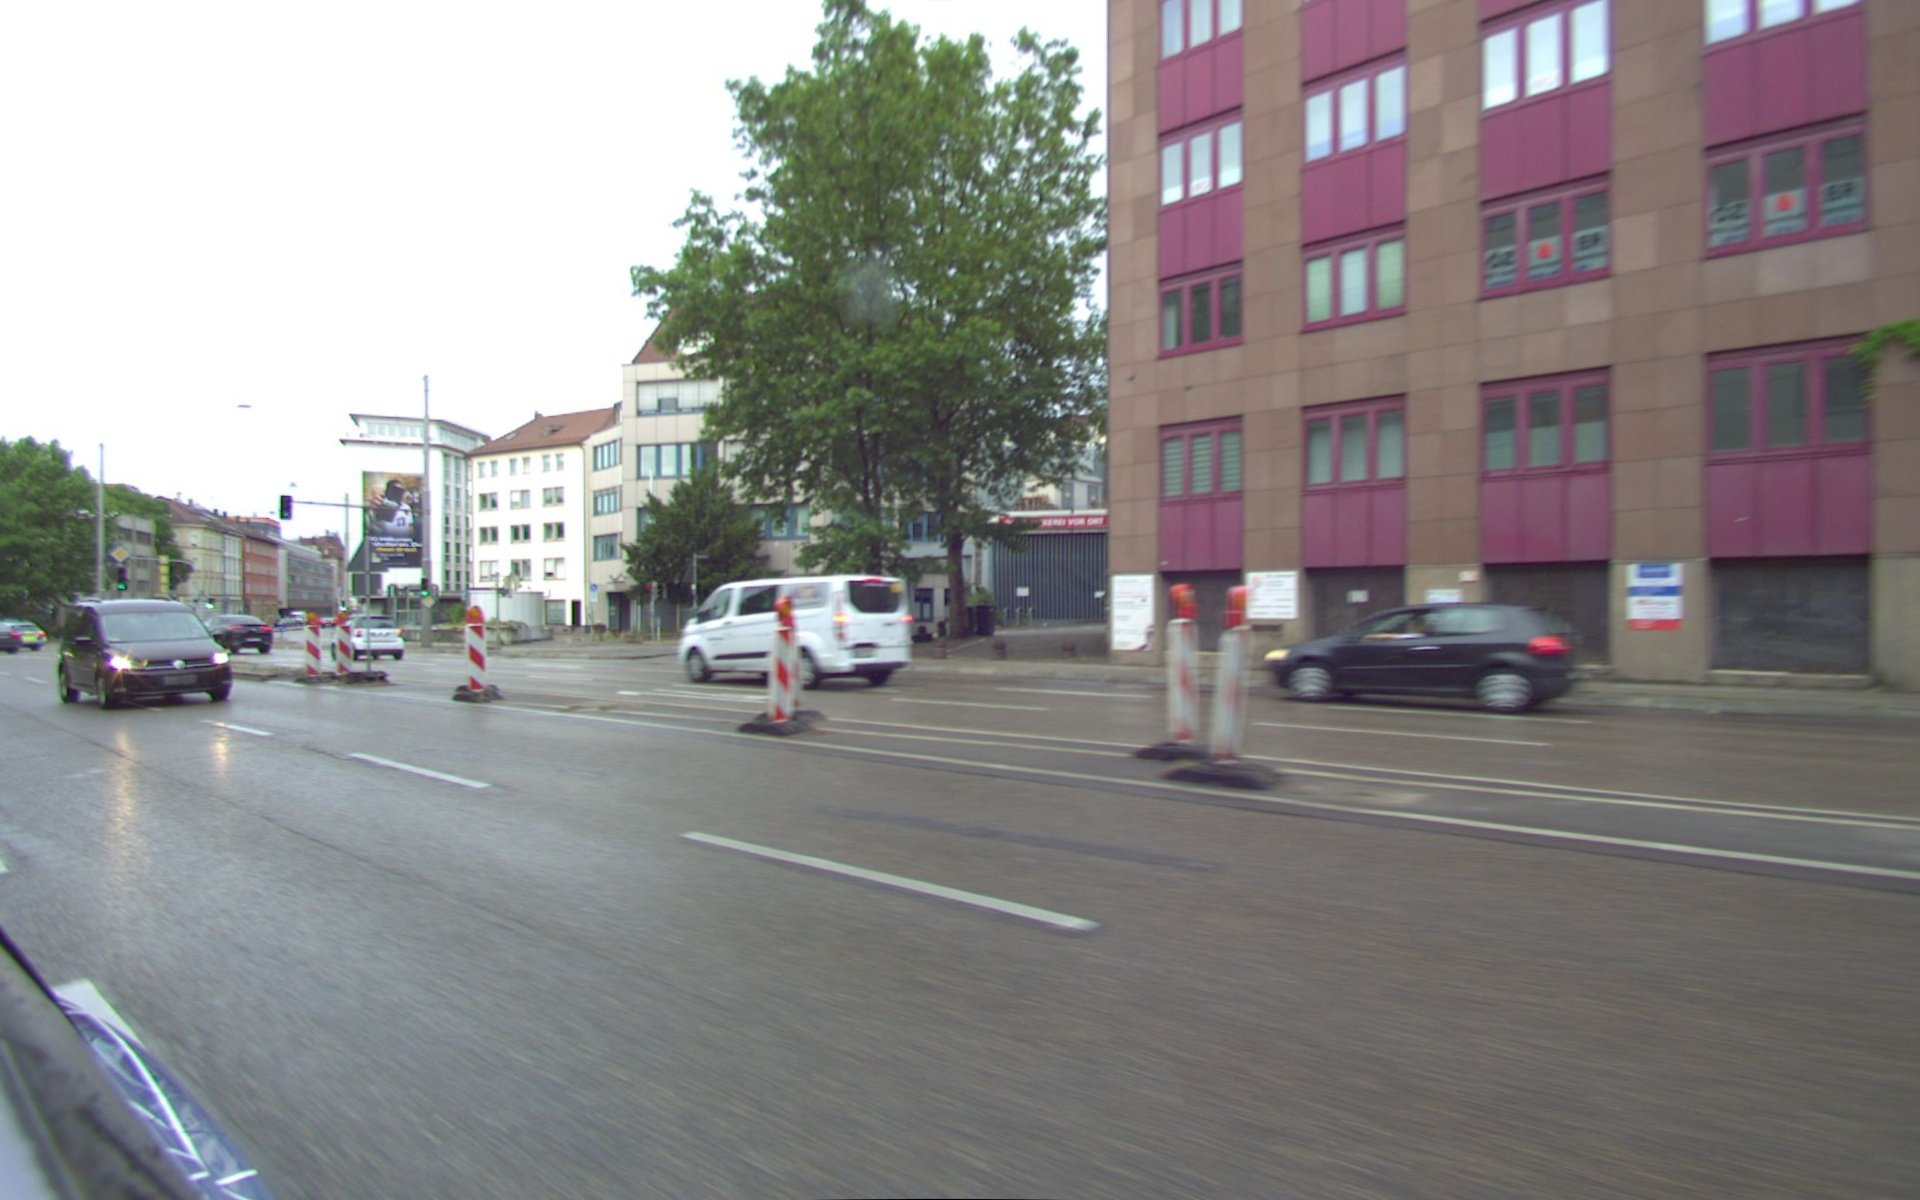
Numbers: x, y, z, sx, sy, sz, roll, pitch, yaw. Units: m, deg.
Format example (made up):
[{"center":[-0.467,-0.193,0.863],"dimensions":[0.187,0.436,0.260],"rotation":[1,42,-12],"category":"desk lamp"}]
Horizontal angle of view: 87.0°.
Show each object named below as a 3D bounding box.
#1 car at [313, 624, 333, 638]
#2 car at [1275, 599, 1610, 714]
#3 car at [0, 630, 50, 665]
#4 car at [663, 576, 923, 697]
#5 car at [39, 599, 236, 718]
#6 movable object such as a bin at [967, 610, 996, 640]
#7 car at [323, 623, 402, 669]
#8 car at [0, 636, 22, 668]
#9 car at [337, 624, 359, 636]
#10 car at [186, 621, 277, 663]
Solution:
[{"center":[-89.190,4.362,141.748],"dimensions":[1.965,1.857,4.454],"rotation":[0,-1,-27],"category":"car"},{"center":[6.734,0.731,14.332],"dimensions":[4.015,1.410,1.682],"rotation":[-1,-1,38],"category":"car"},{"center":[-48.768,2.405,51.986],"dimensions":[4.573,1.695,1.754],"rotation":[-1,-1,31],"category":"car"},{"center":[-3.311,0.649,19.268],"dimensions":[5.286,2.005,1.973],"rotation":[-1,-1,41],"category":"car"},{"center":[-14.404,0.955,17.656],"dimensions":[4.119,1.813,1.774],"rotation":[-2,0,38],"category":"car"},{"center":[0.699,0.828,33.584],"dimensions":[0.861,1.003,0.790],"rotation":[0,-1,-5],"category":"movable object such as a bin"},{"center":[-20.502,1.570,34.706],"dimensions":[2.948,1.496,1.539],"rotation":[-3,-2,42],"category":"car"},{"center":[-45.340,2.395,46.799],"dimensions":[4.927,1.449,1.976],"rotation":[-2,-2,36],"category":"car"},{"center":[-78.909,3.860,130.572],"dimensions":[1.843,1.590,4.013],"rotation":[0,-1,-23],"category":"car"},{"center":[-30.875,1.756,42.865],"dimensions":[4.933,1.690,1.973],"rotation":[-2,-2,40],"category":"car"}]
